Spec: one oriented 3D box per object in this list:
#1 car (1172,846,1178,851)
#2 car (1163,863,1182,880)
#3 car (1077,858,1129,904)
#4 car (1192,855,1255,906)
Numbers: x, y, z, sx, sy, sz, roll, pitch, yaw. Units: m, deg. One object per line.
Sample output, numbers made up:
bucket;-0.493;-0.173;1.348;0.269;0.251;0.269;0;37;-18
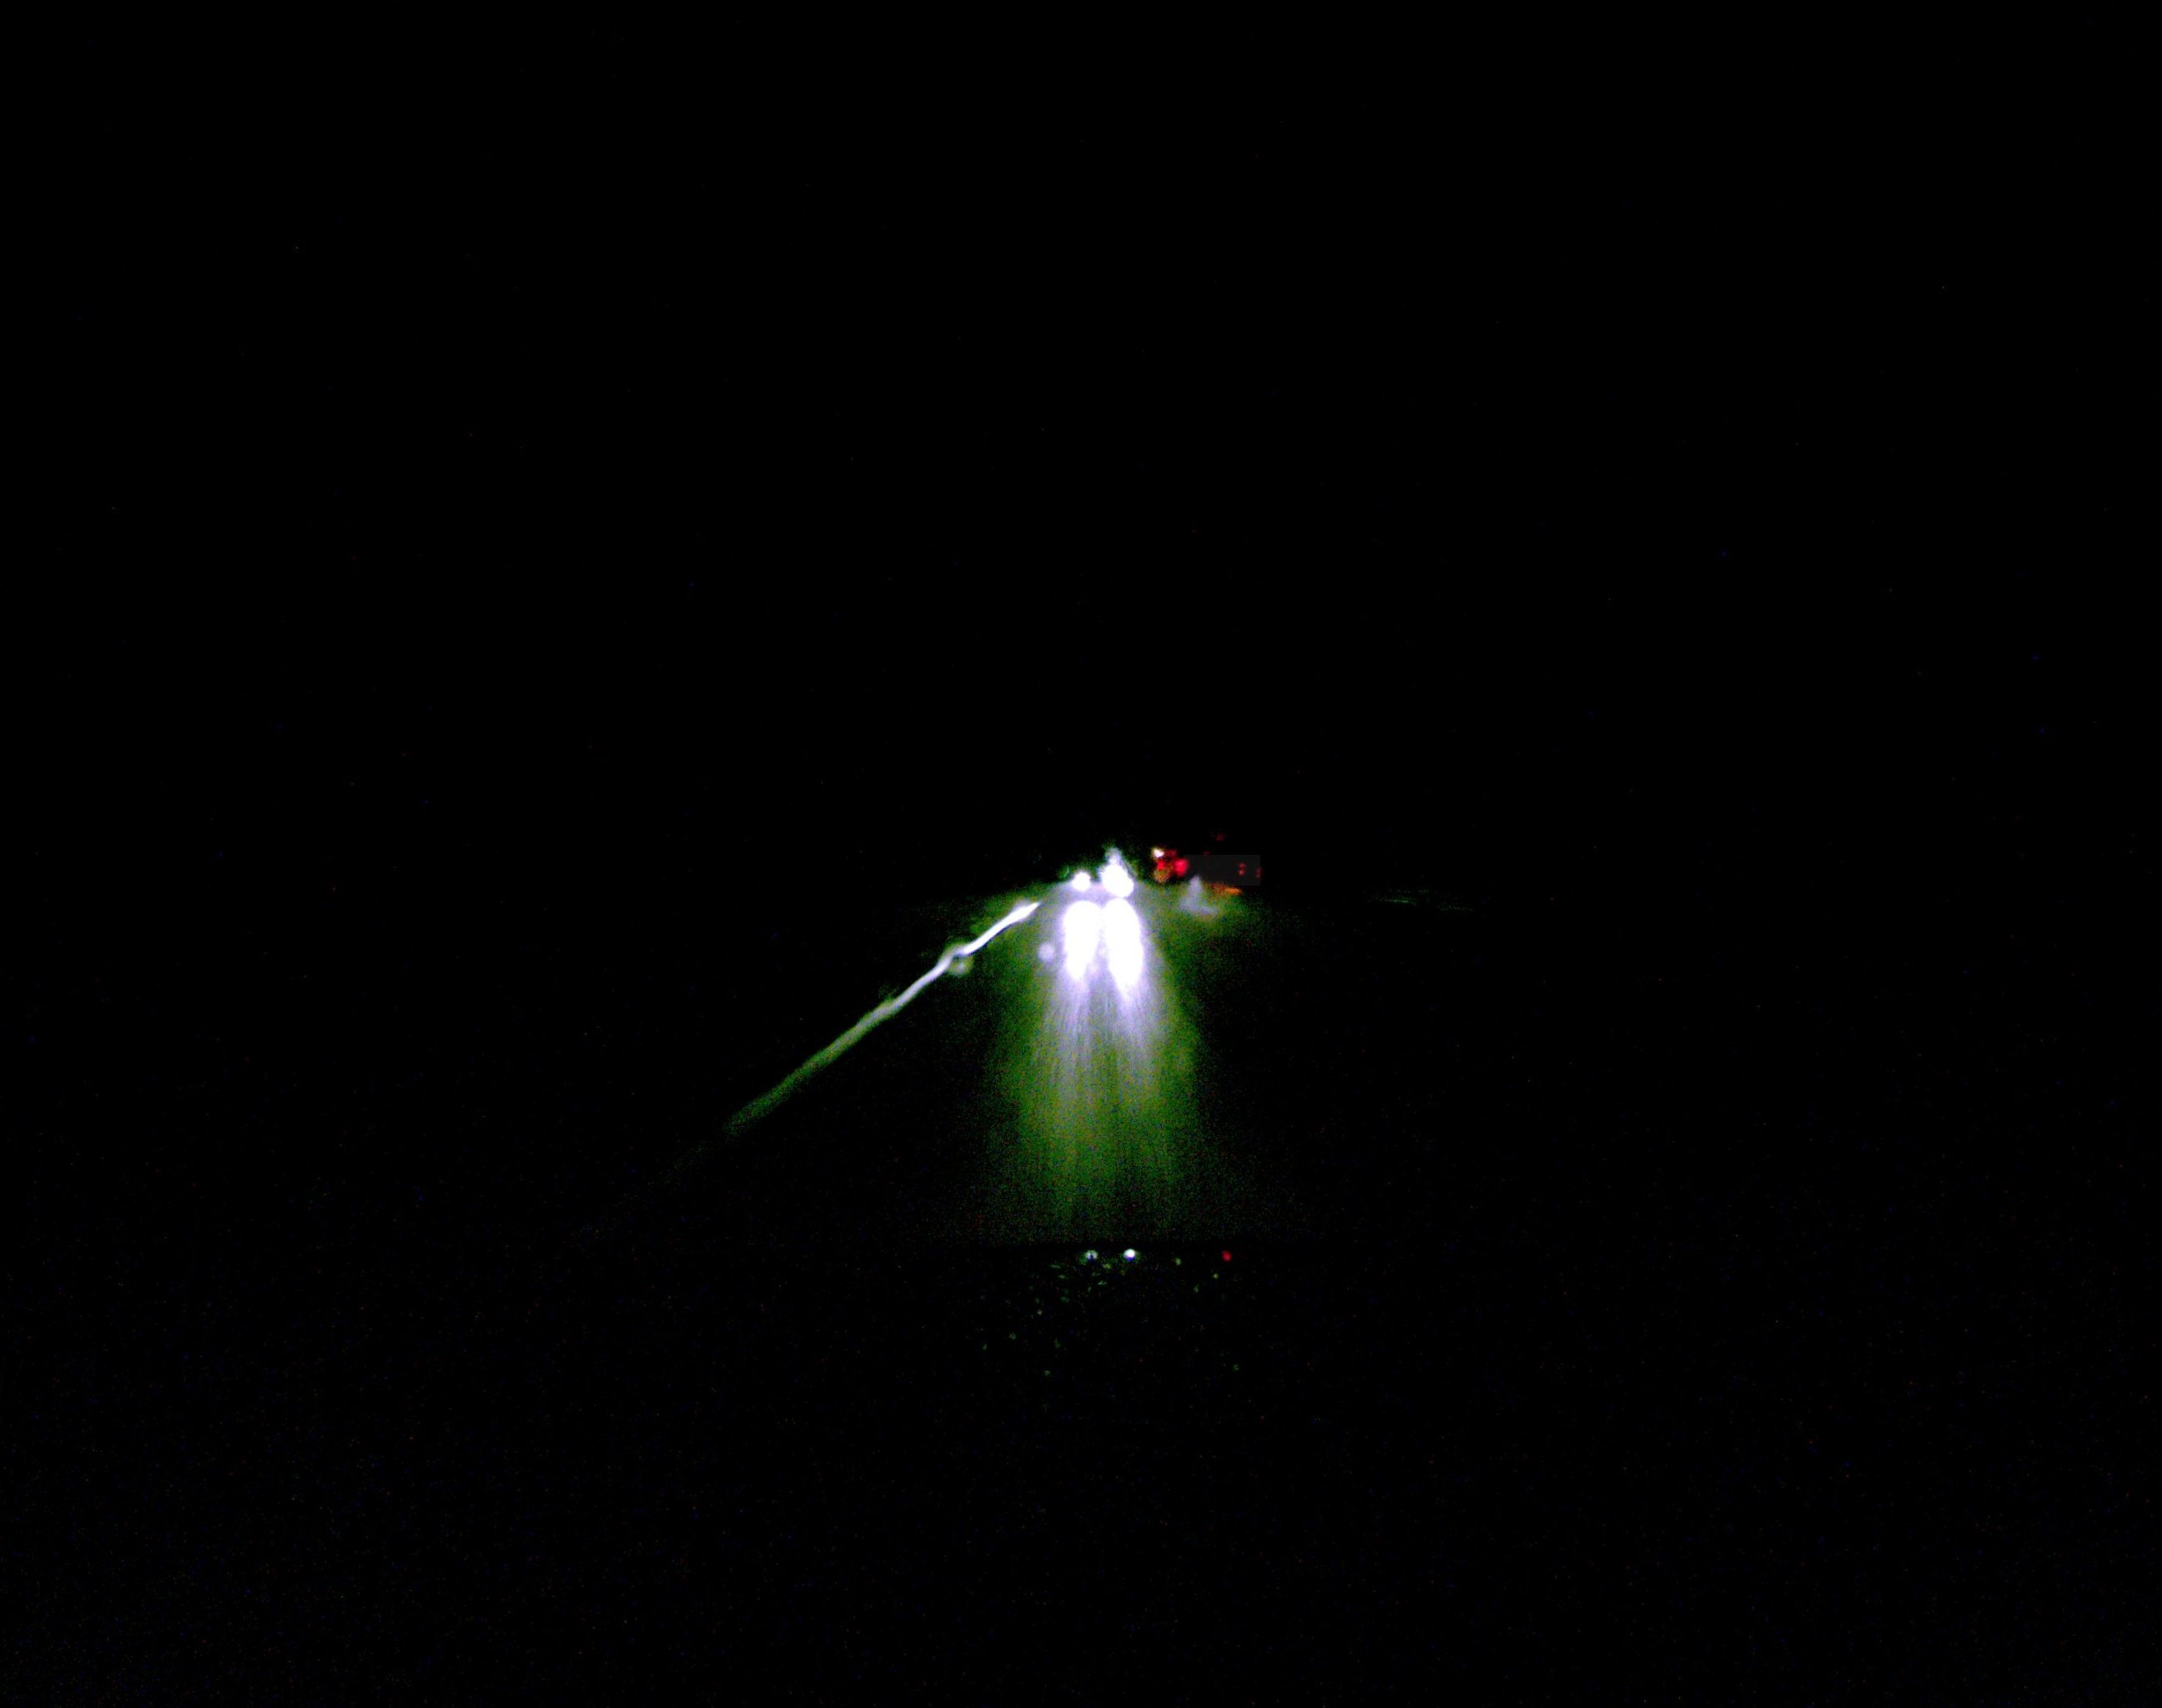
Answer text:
car;31.687;-1.857;256.956;1.744;1.632;3.600;-3;1;3
car;8.169;1.561;67.629;1.598;1.501;3.603;0;-1;8
car;0.907;1.003;29.559;1.744;1.502;3.601;-3;1;5
car;4.548;0.800;24.602;1.566;1.516;3.487;1;0;4
